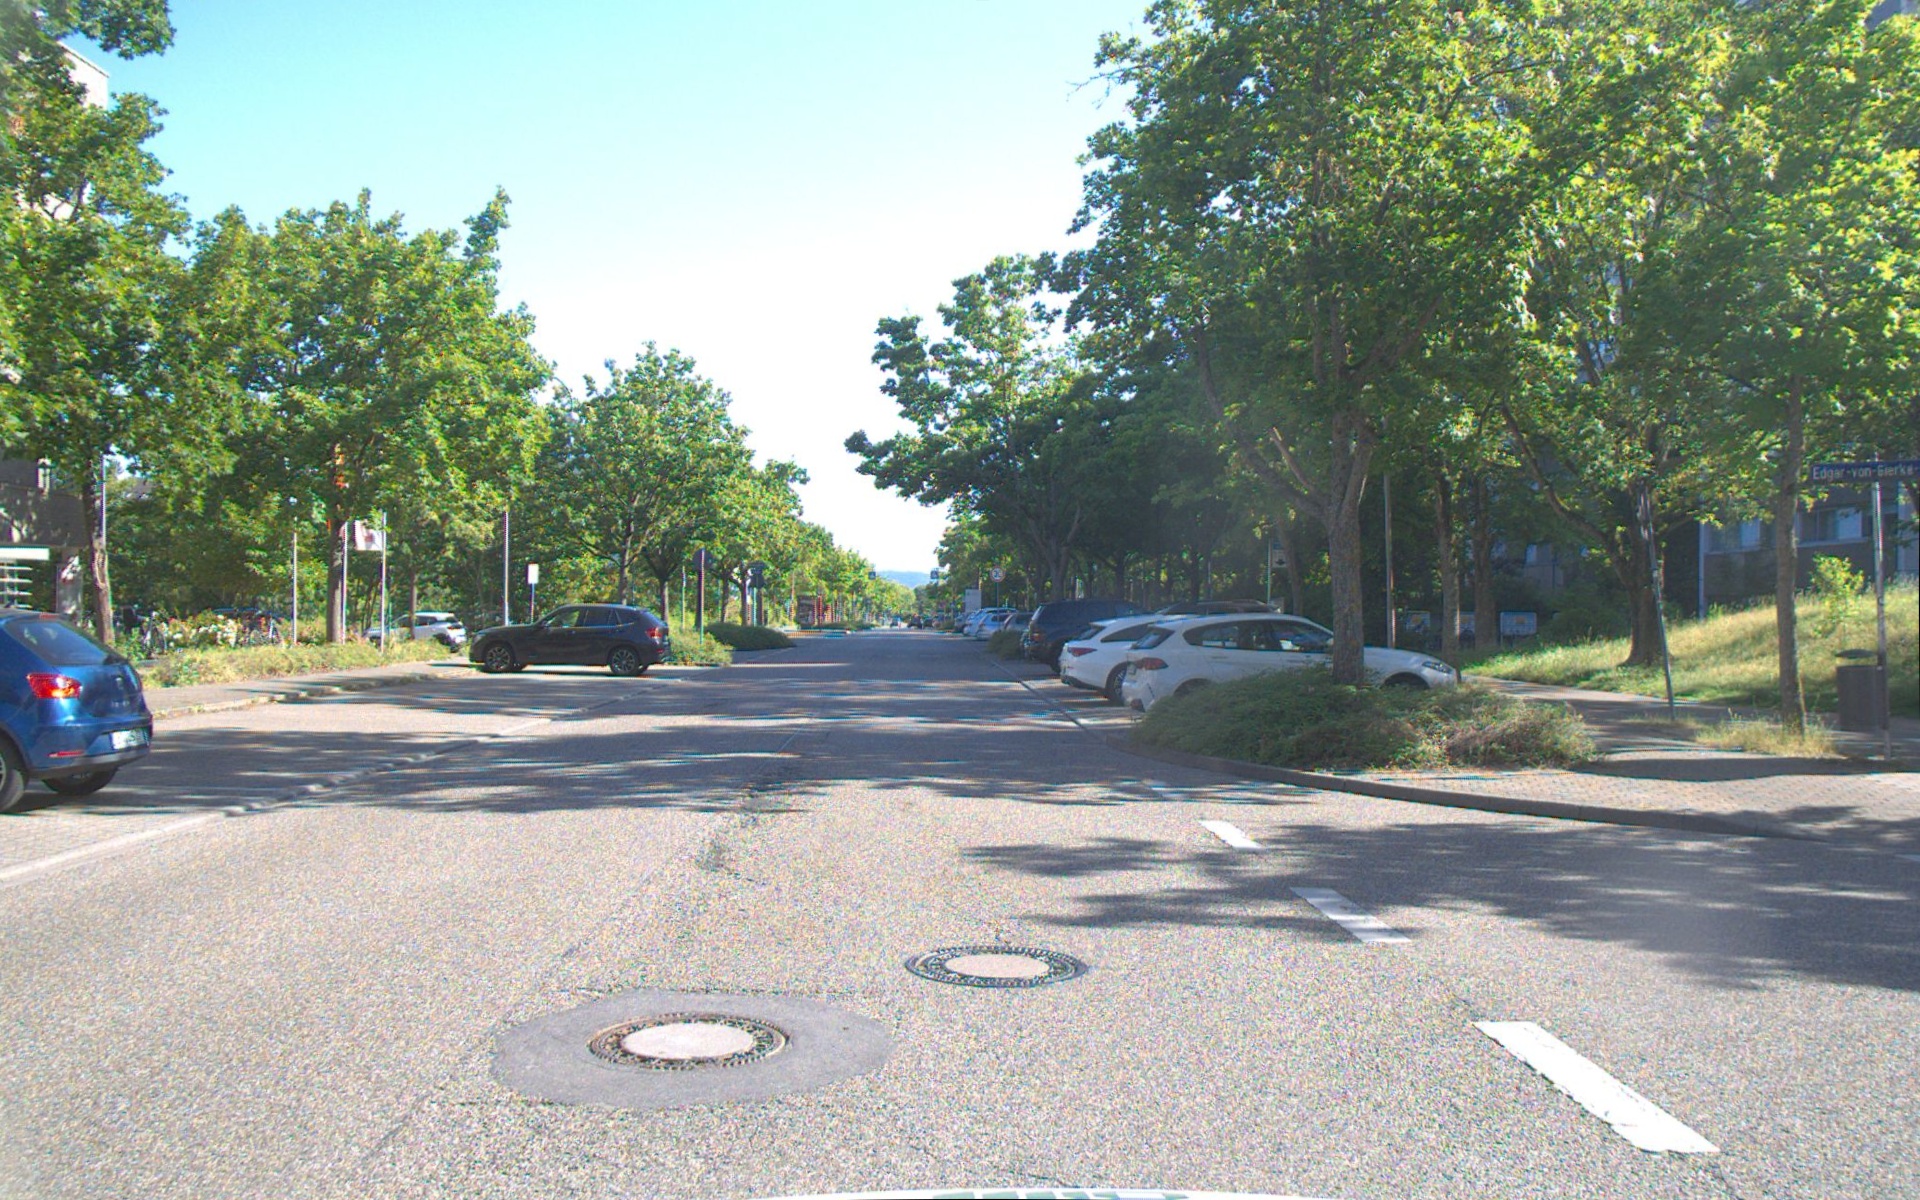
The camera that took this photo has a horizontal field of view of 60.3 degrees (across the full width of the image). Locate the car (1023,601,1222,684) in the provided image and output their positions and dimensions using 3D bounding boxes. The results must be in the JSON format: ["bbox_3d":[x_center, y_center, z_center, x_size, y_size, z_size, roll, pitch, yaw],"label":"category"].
[{"bbox_3d":[3.833,1.005,39.528,4.494,1.810,1.999,-1,-1,-2],"label":"car"}]

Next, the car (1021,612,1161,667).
[{"bbox_3d":[3.816,1.152,48.764,3.907,1.411,1.821,-3,-1,-2],"label":"car"}]

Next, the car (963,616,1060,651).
[{"bbox_3d":[2.268,1.437,71.980,4.185,1.453,1.828,0,-1,3],"label":"car"}]

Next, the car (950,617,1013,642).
[{"bbox_3d":[1.428,1.984,110.196,4.080,1.453,1.999,-3,-1,-2],"label":"car"}]

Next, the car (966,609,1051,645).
[{"bbox_3d":[2.561,1.437,88.568,4.347,1.676,1.815,-3,0,-3],"label":"car"}]

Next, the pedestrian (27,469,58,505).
[{"bbox_3d":[-18.878,-2.323,34.033,0.408,0.698,0.426,1,-1,-10],"label":"pedestrian"}]

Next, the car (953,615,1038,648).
[{"bbox_3d":[1.820,1.615,85.842,4.257,1.515,1.737,-2,-1,-3],"label":"car"}]

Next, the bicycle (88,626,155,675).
[{"bbox_3d":[-19.131,1.135,37.781,0.428,1.066,2.192,1,-1,-1],"label":"bicycle"}]

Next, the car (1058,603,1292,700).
[{"bbox_3d":[3.938,0.951,30.756,4.036,1.646,1.732,-1,-2,-4],"label":"car"}]

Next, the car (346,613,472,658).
[{"bbox_3d":[-19.936,1.284,59.930,3.994,1.476,1.624,-2,-1,0],"label":"car"}]

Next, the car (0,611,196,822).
[{"bbox_3d":[-8.004,0.785,12.142,3.909,1.436,1.815,1,-1,-5],"label":"car"}]

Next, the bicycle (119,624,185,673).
[{"bbox_3d":[-18.320,1.083,37.533,0.428,1.066,2.192,1,-1,-1],"label":"bicycle"}]

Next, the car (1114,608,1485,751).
[{"bbox_3d":[4.312,0.990,21.408,4.340,1.621,1.835,-2,-1,-5],"label":"car"}]

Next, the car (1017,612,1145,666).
[{"bbox_3d":[3.734,1.193,51.543,3.734,1.525,1.699,-2,-1,-5],"label":"car"}]

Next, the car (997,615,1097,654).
[{"bbox_3d":[3.499,1.396,67.185,3.906,1.476,1.716,-2,-1,-2],"label":"car"}]

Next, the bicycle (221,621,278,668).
[{"bbox_3d":[-16.796,1.045,39.154,0.428,1.066,2.192,1,-1,-1],"label":"bicycle"}]

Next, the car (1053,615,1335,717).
[{"bbox_3d":[3.827,1.080,27.514,4.355,1.572,1.816,1,-1,-4],"label":"car"}]

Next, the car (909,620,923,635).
[{"bbox_3d":[-6.478,4.018,242.404,1.953,2.049,3.999,1,-1,-1],"label":"car"}]

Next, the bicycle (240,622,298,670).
[{"bbox_3d":[-15.718,1.032,37.677,0.428,1.066,2.192,1,-1,-1],"label":"bicycle"}]

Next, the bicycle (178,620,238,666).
[{"bbox_3d":[-17.789,1.007,39.151,0.428,1.066,2.192,1,-1,-1],"label":"bicycle"}]

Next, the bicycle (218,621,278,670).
[{"bbox_3d":[-16.190,1.025,37.655,0.428,1.066,2.192,1,-1,-1],"label":"bicycle"}]

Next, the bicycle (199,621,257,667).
[{"bbox_3d":[-17.305,1.025,39.148,0.428,1.066,2.192,1,-1,-1],"label":"bicycle"}]

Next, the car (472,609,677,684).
[{"bbox_3d":[-8.511,1.029,36.766,4.107,1.547,1.771,1,-1,-1],"label":"car"}]

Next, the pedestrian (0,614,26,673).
[{"bbox_3d":[-22.709,1.019,39.255,0.654,1.385,0.745,0,-1,-1],"label":"pedestrian"}]
